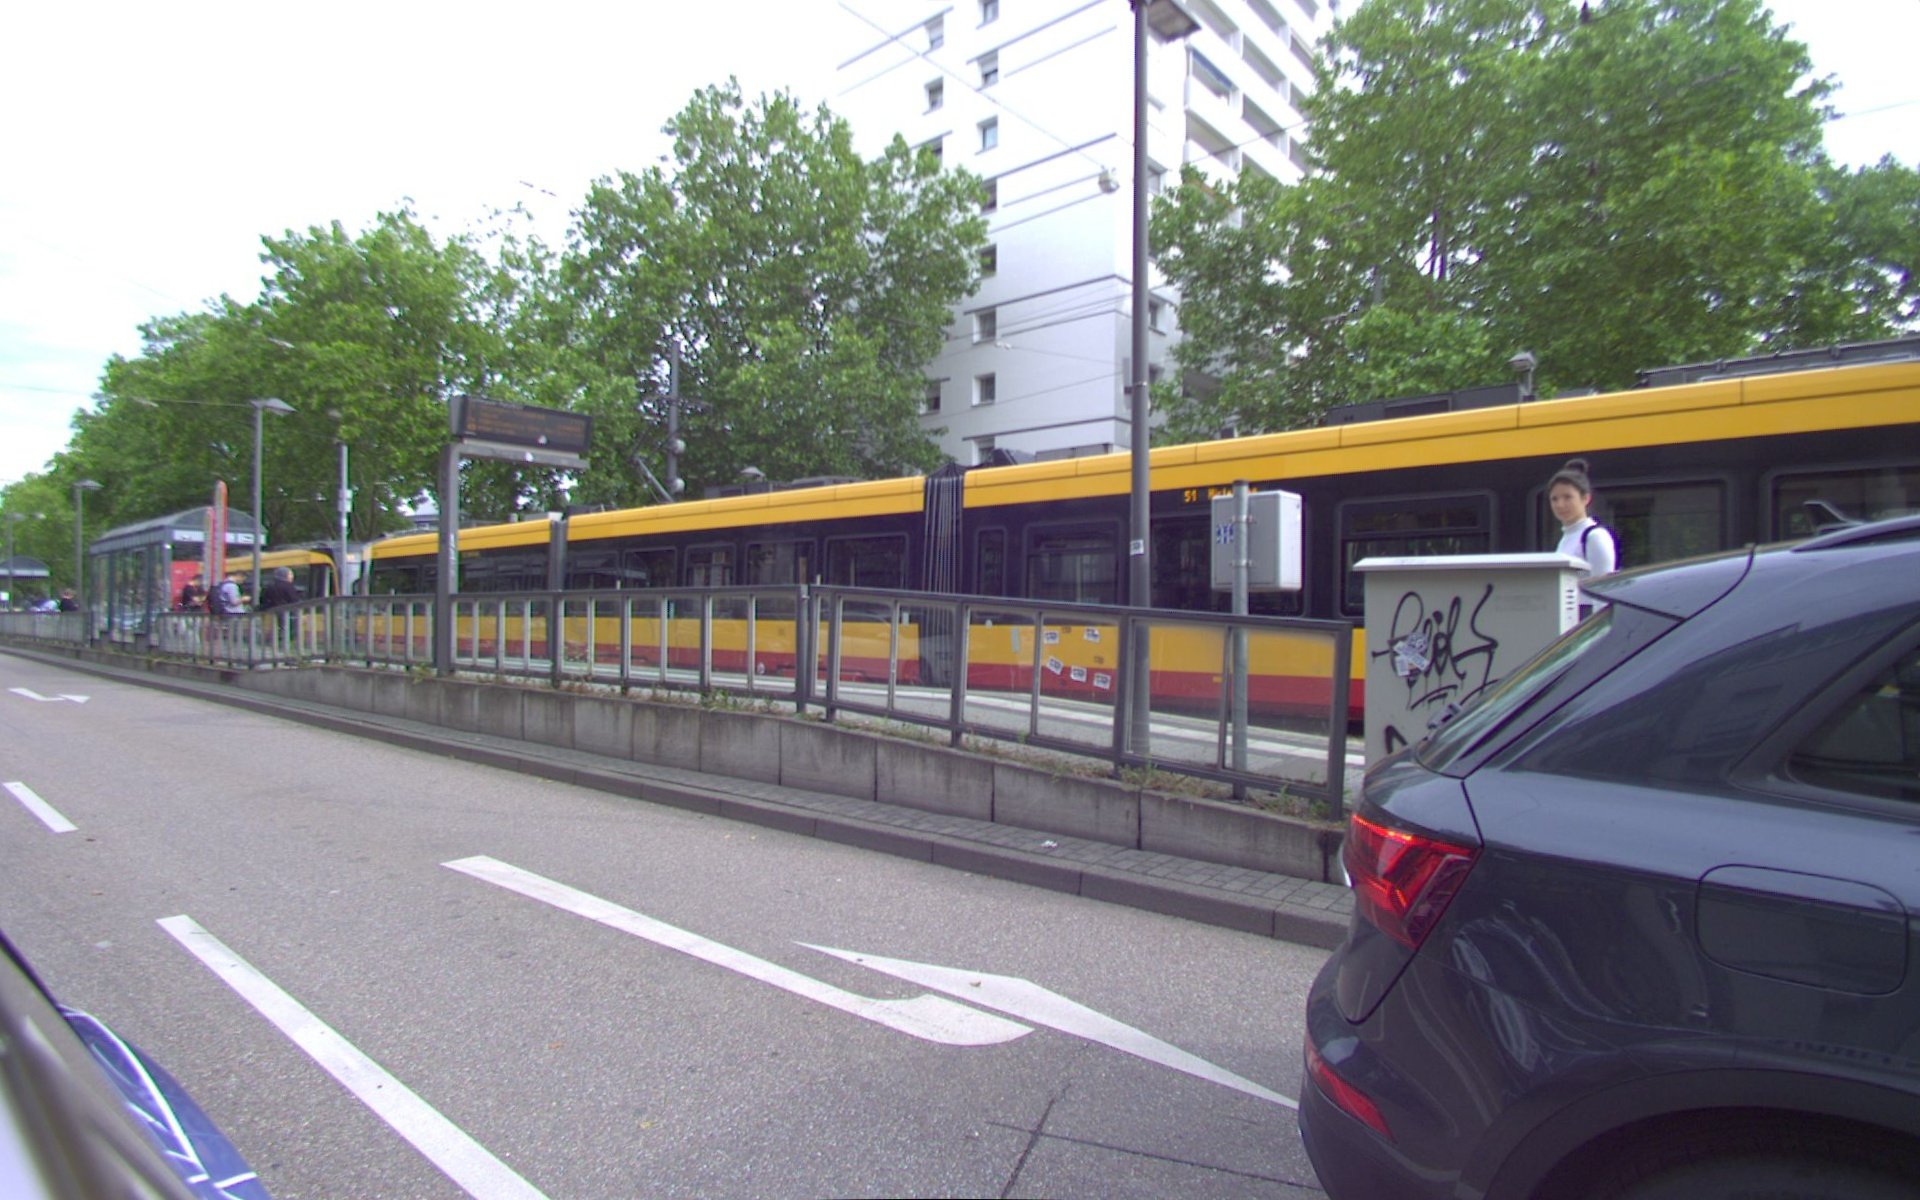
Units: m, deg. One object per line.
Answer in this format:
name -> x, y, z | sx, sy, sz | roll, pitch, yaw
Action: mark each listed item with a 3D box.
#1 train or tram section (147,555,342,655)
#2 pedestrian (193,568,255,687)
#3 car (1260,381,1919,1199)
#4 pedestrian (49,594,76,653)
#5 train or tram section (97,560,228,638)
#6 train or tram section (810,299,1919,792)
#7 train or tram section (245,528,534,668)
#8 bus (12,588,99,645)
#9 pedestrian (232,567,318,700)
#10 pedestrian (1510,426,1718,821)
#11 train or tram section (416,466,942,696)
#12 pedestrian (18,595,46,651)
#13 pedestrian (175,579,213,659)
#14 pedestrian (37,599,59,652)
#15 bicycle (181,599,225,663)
train or tram section -> -30.214, 0.198, 42.164 | 15.764, 3.558, 3.028 | 0, 0, 41
pedestrian -> -12.925, 0.463, 17.794 | 0.742, 2.029, 0.821 | -1, 0, -26
car -> 2.760, 0.540, 1.014 | 4.354, 1.613, 1.861 | -1, 0, 40
pedestrian -> -25.561, 0.656, 28.826 | 0.730, 1.645, 0.506 | -1, 0, 42
train or tram section -> -40.823, -0.018, 51.539 | 12.534, 3.588, 3.060 | 0, 0, 41
train or tram section -> 4.640, -0.386, 11.536 | 15.841, 3.615, 3.028 | 0, 0, 41
train or tram section -> -18.553, -0.022, 31.928 | 15.287, 3.558, 3.028 | 0, 0, 41
bus -> -33.929, 0.575, 37.932 | 3.998, 2.029, 1.973 | 0, 0, 41
pedestrian -> -10.768, 0.517, 15.929 | 0.808, 2.029, 0.754 | -1, 0, 4
pedestrian -> 3.119, 0.099, 4.818 | 0.730, 1.674, 0.746 | -1, 0, 41
train or tram section -> -7.064, -0.270, 21.817 | 15.287, 3.558, 3.028 | 0, 0, 41
pedestrian -> -34.009, 0.818, 37.091 | 0.587, 2.029, 0.668 | -1, 0, 38
pedestrian -> -15.988, 0.380, 21.121 | 0.471, 1.645, 0.526 | -1, 0, 39
pedestrian -> -28.974, 0.807, 32.154 | 0.392, 1.645, 0.474 | -1, 0, 42
bicycle -> -15.028, 0.602, 20.083 | 1.289, 1.231, 0.414 | -1, 0, 41
